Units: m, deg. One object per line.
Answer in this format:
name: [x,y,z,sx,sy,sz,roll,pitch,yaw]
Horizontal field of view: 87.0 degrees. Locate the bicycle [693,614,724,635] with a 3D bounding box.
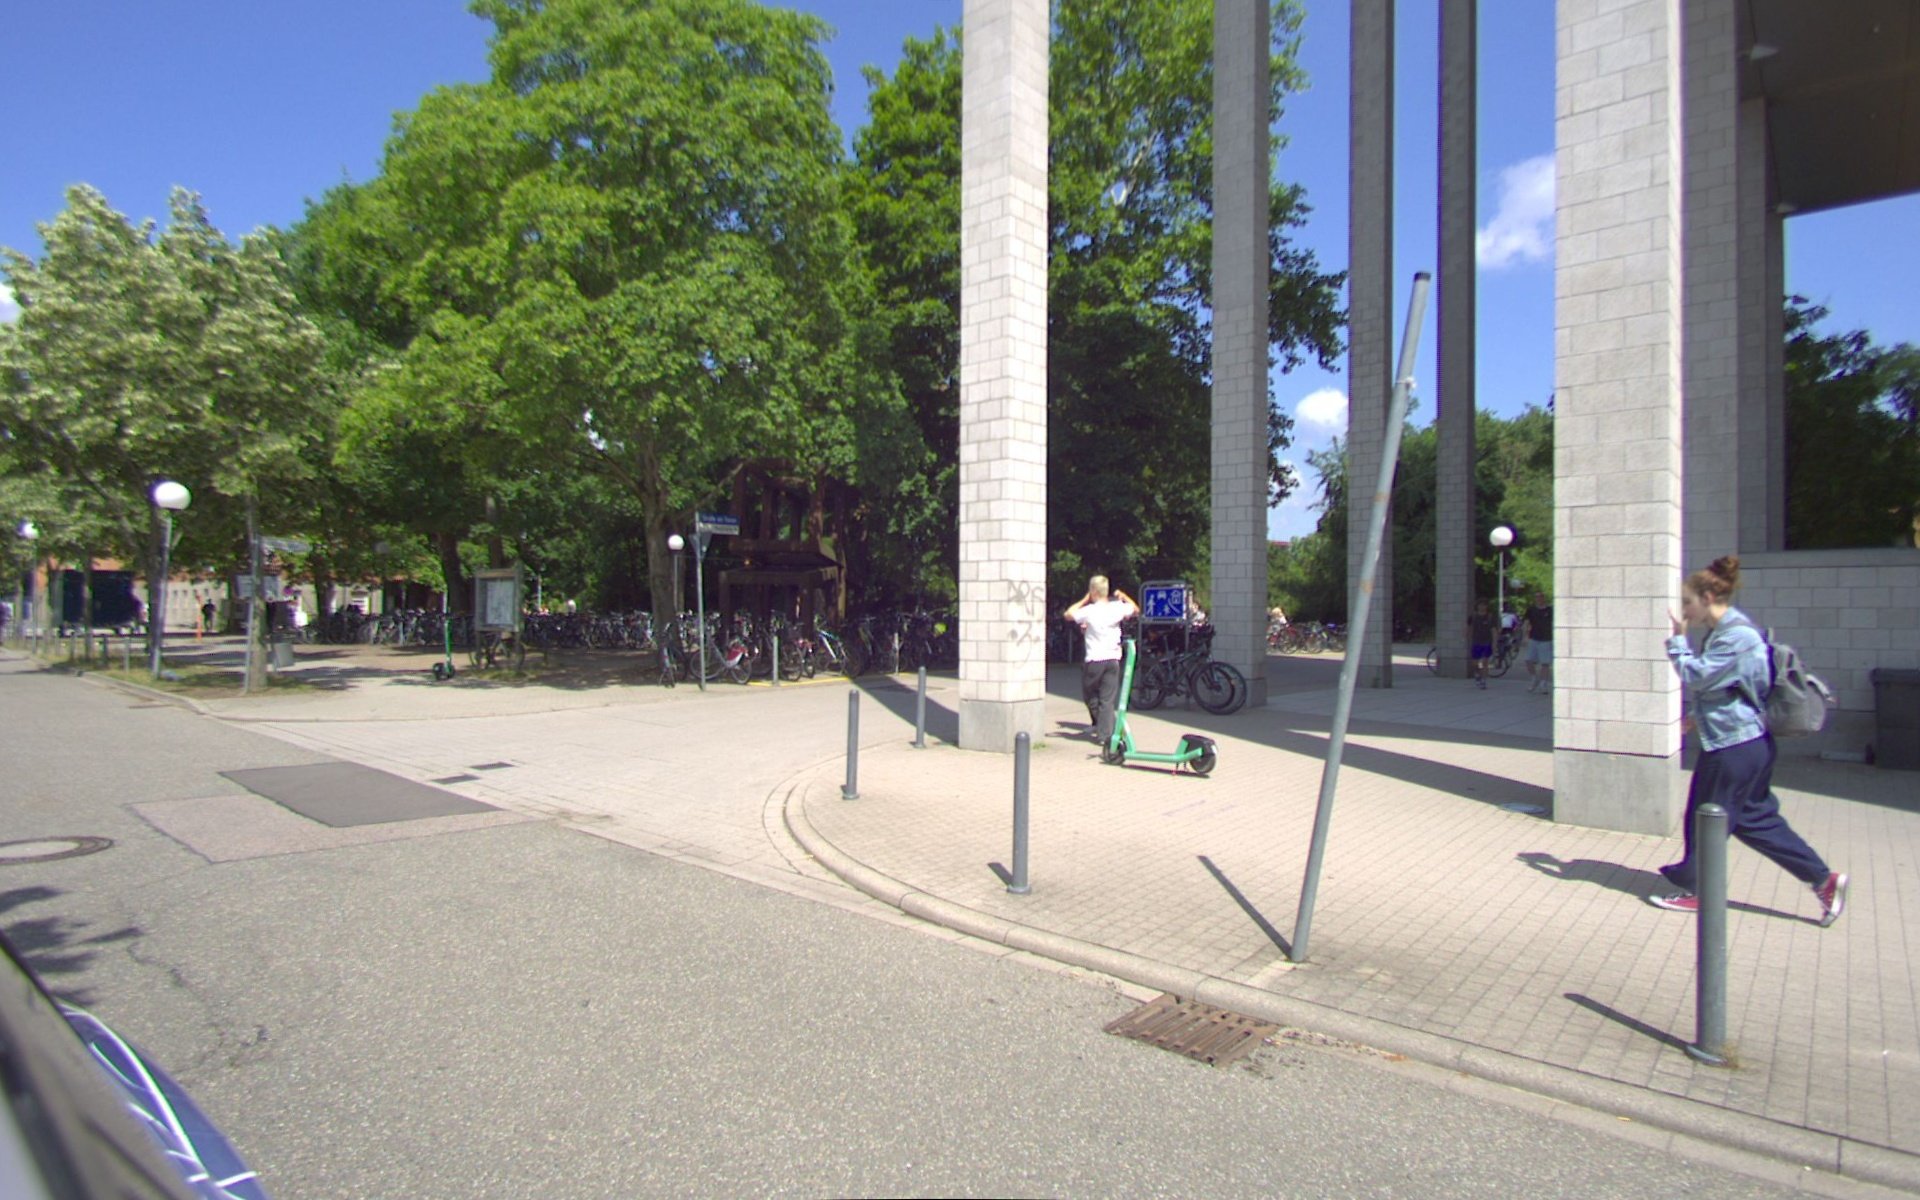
bicycle: [-11.308,1.083,45.591,0.416,0.900,1.755,-1,0,21]

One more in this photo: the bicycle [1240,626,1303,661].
bicycle: [10.406,1.429,33.832,1.972,1.094,0.546,-1,1,42]

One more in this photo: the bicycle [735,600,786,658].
bicycle: [-5.243,0.736,26.716,0.600,1.461,2.284,0,-1,9]

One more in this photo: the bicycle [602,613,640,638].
bicycle: [-15.298,1.135,45.714,0.592,1.099,1.946,1,0,19]

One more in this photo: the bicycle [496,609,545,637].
bicycle: [-17.807,0.907,41.069,0.544,1.097,1.951,-1,0,25]

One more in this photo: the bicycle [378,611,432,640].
bicycle: [-22.706,1.048,41.425,0.535,1.134,1.946,-1,0,31]

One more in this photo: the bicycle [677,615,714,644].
bicycle: [-10.228,1.135,39.235,0.541,1.097,1.959,-1,0,12]

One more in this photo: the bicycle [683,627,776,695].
bicycle: [-4.068,1.034,17.749,1.972,1.094,0.546,-1,1,42]

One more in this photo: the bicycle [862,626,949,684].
bicycle: [-1.147,1.113,20.961,1.972,1.094,0.546,-1,1,42]

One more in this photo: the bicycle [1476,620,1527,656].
bicycle: [19.662,1.354,36.724,0.885,1.209,2.709,-1,-1,45]

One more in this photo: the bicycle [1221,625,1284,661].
bicycle: [9.660,1.407,33.467,1.972,1.094,0.546,-1,1,42]

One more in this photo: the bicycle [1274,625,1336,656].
bicycle: [11.988,1.394,35.195,1.970,1.031,0.611,-1,1,37]

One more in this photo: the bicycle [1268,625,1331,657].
bicycle: [11.613,1.384,34.655,1.970,1.031,0.611,-1,1,37]

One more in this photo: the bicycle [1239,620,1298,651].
bicycle: [11.244,1.284,36.877,1.972,1.094,0.610,-1,1,42]

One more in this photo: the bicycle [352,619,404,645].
bicycle: [-24.409,1.322,42.462,0.538,1.022,1.782,-1,0,44]

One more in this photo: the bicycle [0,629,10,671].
bicycle: [-27.460,1.393,28.576,1.887,1.138,0.678,-1,-2,40]

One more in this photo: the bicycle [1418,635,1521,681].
bicycle: [11.438,1.282,22.763,1.993,0.953,0.520,-1,-1,41]

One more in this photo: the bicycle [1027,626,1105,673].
bicycle: [2.627,1.216,25.205,1.972,1.094,0.546,-1,1,42]

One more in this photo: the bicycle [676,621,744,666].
bicycle: [-5.616,0.964,22.716,1.650,0.972,0.472,0,-1,31]

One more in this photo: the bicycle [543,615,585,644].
bicycle: [-15.734,1.172,40.276,0.541,1.097,1.959,-1,0,12]

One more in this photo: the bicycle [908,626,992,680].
bicycle: [-0.237,1.138,22.134,1.972,1.094,0.546,-1,1,42]

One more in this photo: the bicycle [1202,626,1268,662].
bicycle: [8.754,1.383,32.266,1.972,1.094,0.546,-1,1,42]

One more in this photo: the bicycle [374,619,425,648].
bicycle: [-21.991,1.295,39.747,0.543,1.097,1.848,-1,0,20]

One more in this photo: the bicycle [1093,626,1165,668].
bicycle: [4.645,1.270,27.892,1.972,1.094,0.546,-1,1,42]

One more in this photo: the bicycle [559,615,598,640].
bicycle: [-17.809,1.278,47.306,0.592,1.099,1.946,1,0,19]

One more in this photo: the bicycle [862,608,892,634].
bicycle: [-3.491,0.869,42.878,0.502,1.043,2.049,-1,0,18]

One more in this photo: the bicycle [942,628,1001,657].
bicycle: [0.303,1.134,26.961,1.542,0.768,0.322,0,0,9]

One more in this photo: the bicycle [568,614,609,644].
bicycle: [-14.655,1.134,39.932,0.541,1.097,1.959,-1,0,12]

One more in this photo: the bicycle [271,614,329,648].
bicycle: [-23.454,1.092,35.972,0.456,1.140,1.764,-1,0,24]

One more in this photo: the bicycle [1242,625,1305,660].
bicycle: [10.693,1.436,34.562,1.972,1.094,0.546,-1,1,42]

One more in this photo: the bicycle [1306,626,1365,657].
bicycle: [13.925,1.526,37.578,1.972,1.094,0.546,-1,1,42]

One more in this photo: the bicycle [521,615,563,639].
bicycle: [-19.795,1.257,47.966,0.594,1.099,1.939,1,0,28]

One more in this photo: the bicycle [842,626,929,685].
bicycle: [-1.525,1.103,20.492,1.972,1.094,0.546,-1,1,42]

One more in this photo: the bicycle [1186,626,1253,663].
bicycle: [8.089,1.365,31.583,1.972,1.094,0.546,-1,1,42]

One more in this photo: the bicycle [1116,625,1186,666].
bicycle: [5.489,1.292,29.156,1.972,1.094,0.546,-1,1,42]

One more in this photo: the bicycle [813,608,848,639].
bicycle: [-4.884,0.857,38.344,0.727,1.117,2.299,-1,0,9]

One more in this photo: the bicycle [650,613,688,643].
bicycle: [-11.354,1.080,39.505,0.541,1.097,1.959,-1,0,12]

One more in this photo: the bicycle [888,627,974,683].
bicycle: [-0.625,1.128,21.359,1.972,1.094,0.546,-1,1,42]

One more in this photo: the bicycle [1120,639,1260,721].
bicycle: [3.069,1.054,13.657,0.459,1.022,1.866,-1,-2,-44]

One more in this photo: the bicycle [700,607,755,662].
bicycle: [-5.601,0.829,24.489,0.581,1.263,2.015,0,-2,9]

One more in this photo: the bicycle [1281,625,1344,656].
bicycle: [12.411,1.407,35.659,1.970,1.031,0.611,-1,1,37]

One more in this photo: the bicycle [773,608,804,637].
bicycle: [-7.512,0.986,44.462,0.422,1.216,1.782,-1,0,25]

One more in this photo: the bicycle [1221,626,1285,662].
bicycle: [9.477,1.404,32.781,1.972,1.094,0.546,-1,1,42]

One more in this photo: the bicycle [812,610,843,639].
bicycle: [-5.715,1.050,43.782,0.422,1.216,1.782,-1,0,25]

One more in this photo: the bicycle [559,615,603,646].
bicycle: [-14.108,1.130,37.731,0.541,1.097,1.959,-1,0,12]

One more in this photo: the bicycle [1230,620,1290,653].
bicycle: [10.641,1.274,35.930,1.972,1.094,0.610,-1,1,42]

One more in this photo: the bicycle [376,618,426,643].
bicycle: [-24.143,1.327,43.722,0.538,1.022,1.782,-1,0,44]
